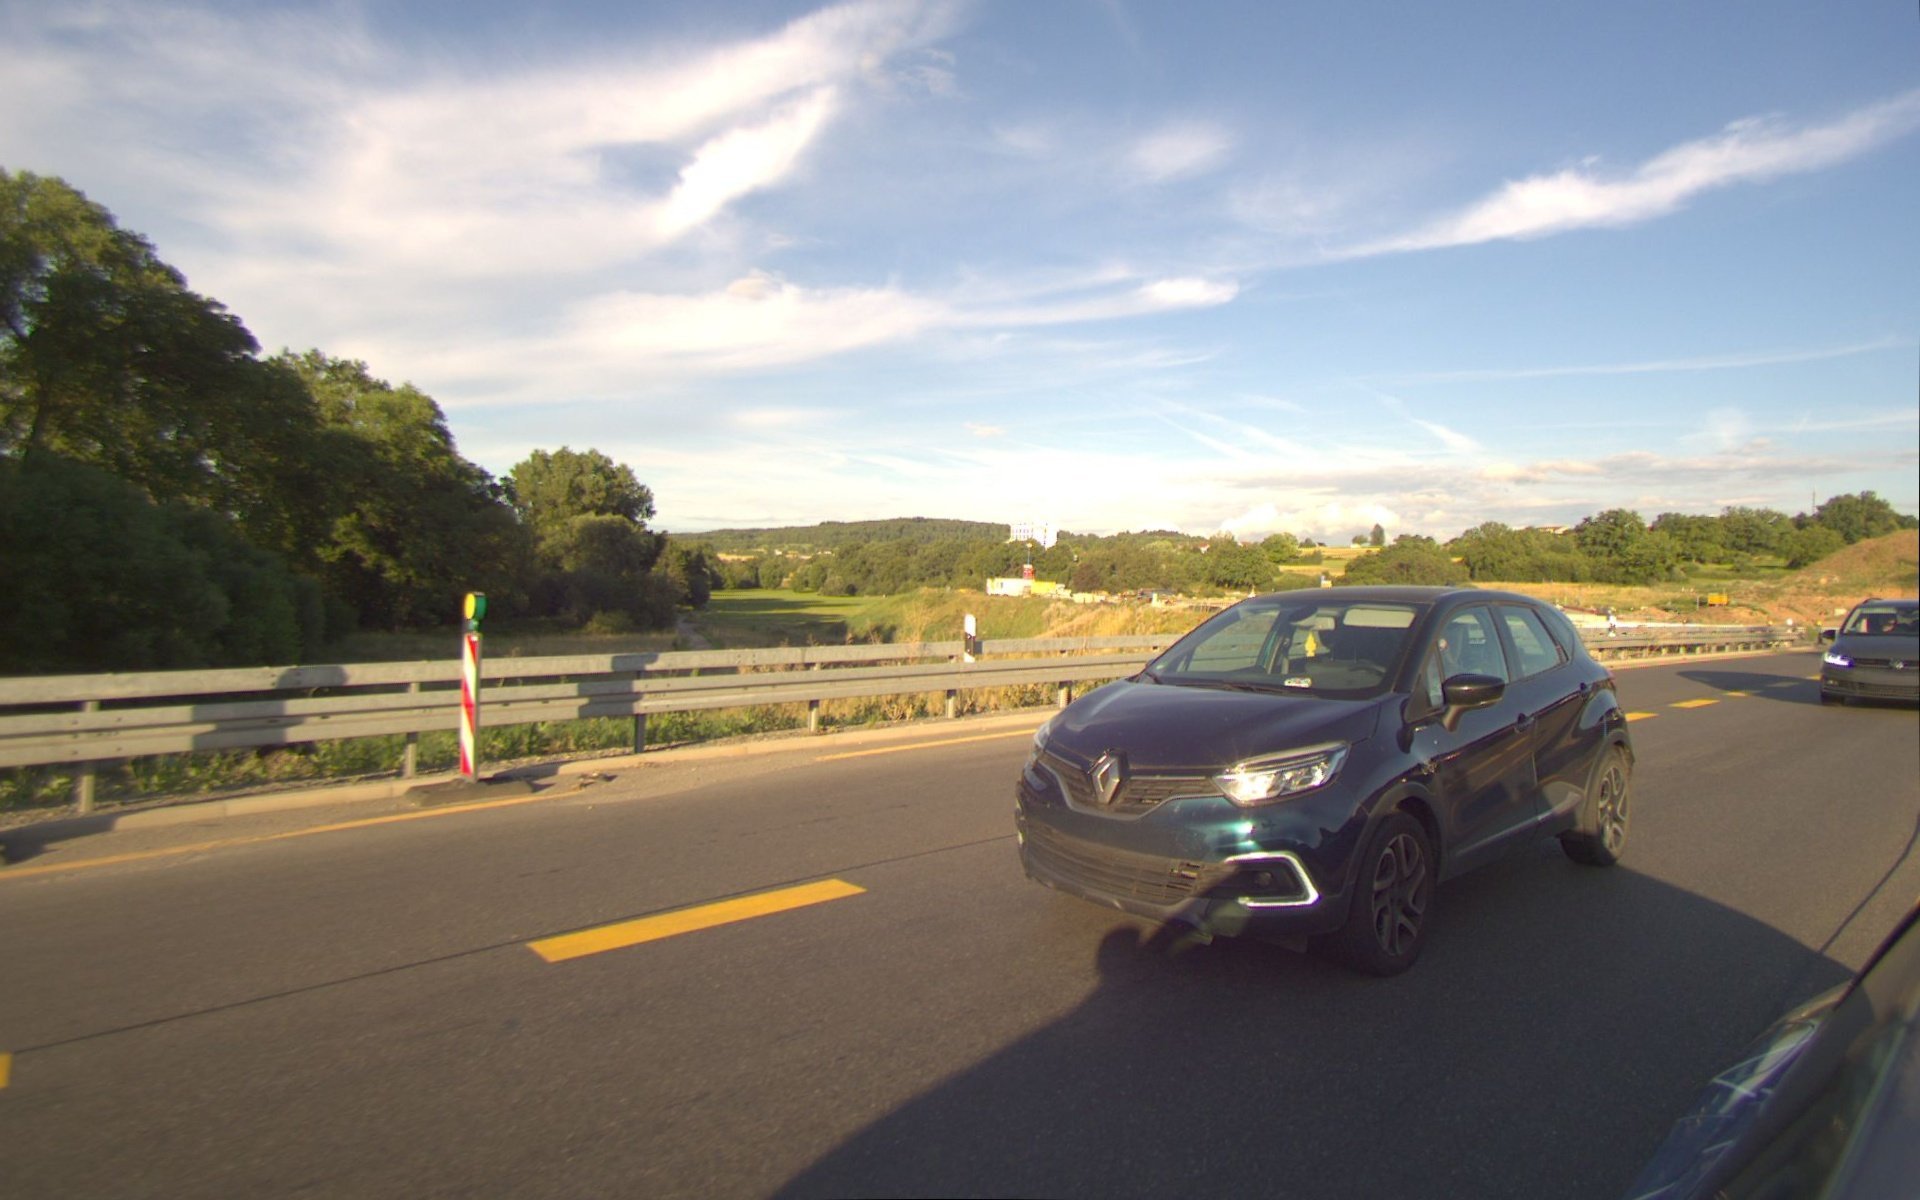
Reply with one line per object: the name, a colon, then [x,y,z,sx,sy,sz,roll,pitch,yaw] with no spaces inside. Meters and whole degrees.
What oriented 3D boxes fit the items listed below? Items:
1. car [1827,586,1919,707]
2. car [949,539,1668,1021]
car: [14.685,0.636,15.308,4.448,1.636,1.814,0,-1,-42]
car: [2.073,0.616,5.378,4.061,1.606,1.777,1,-1,-40]
